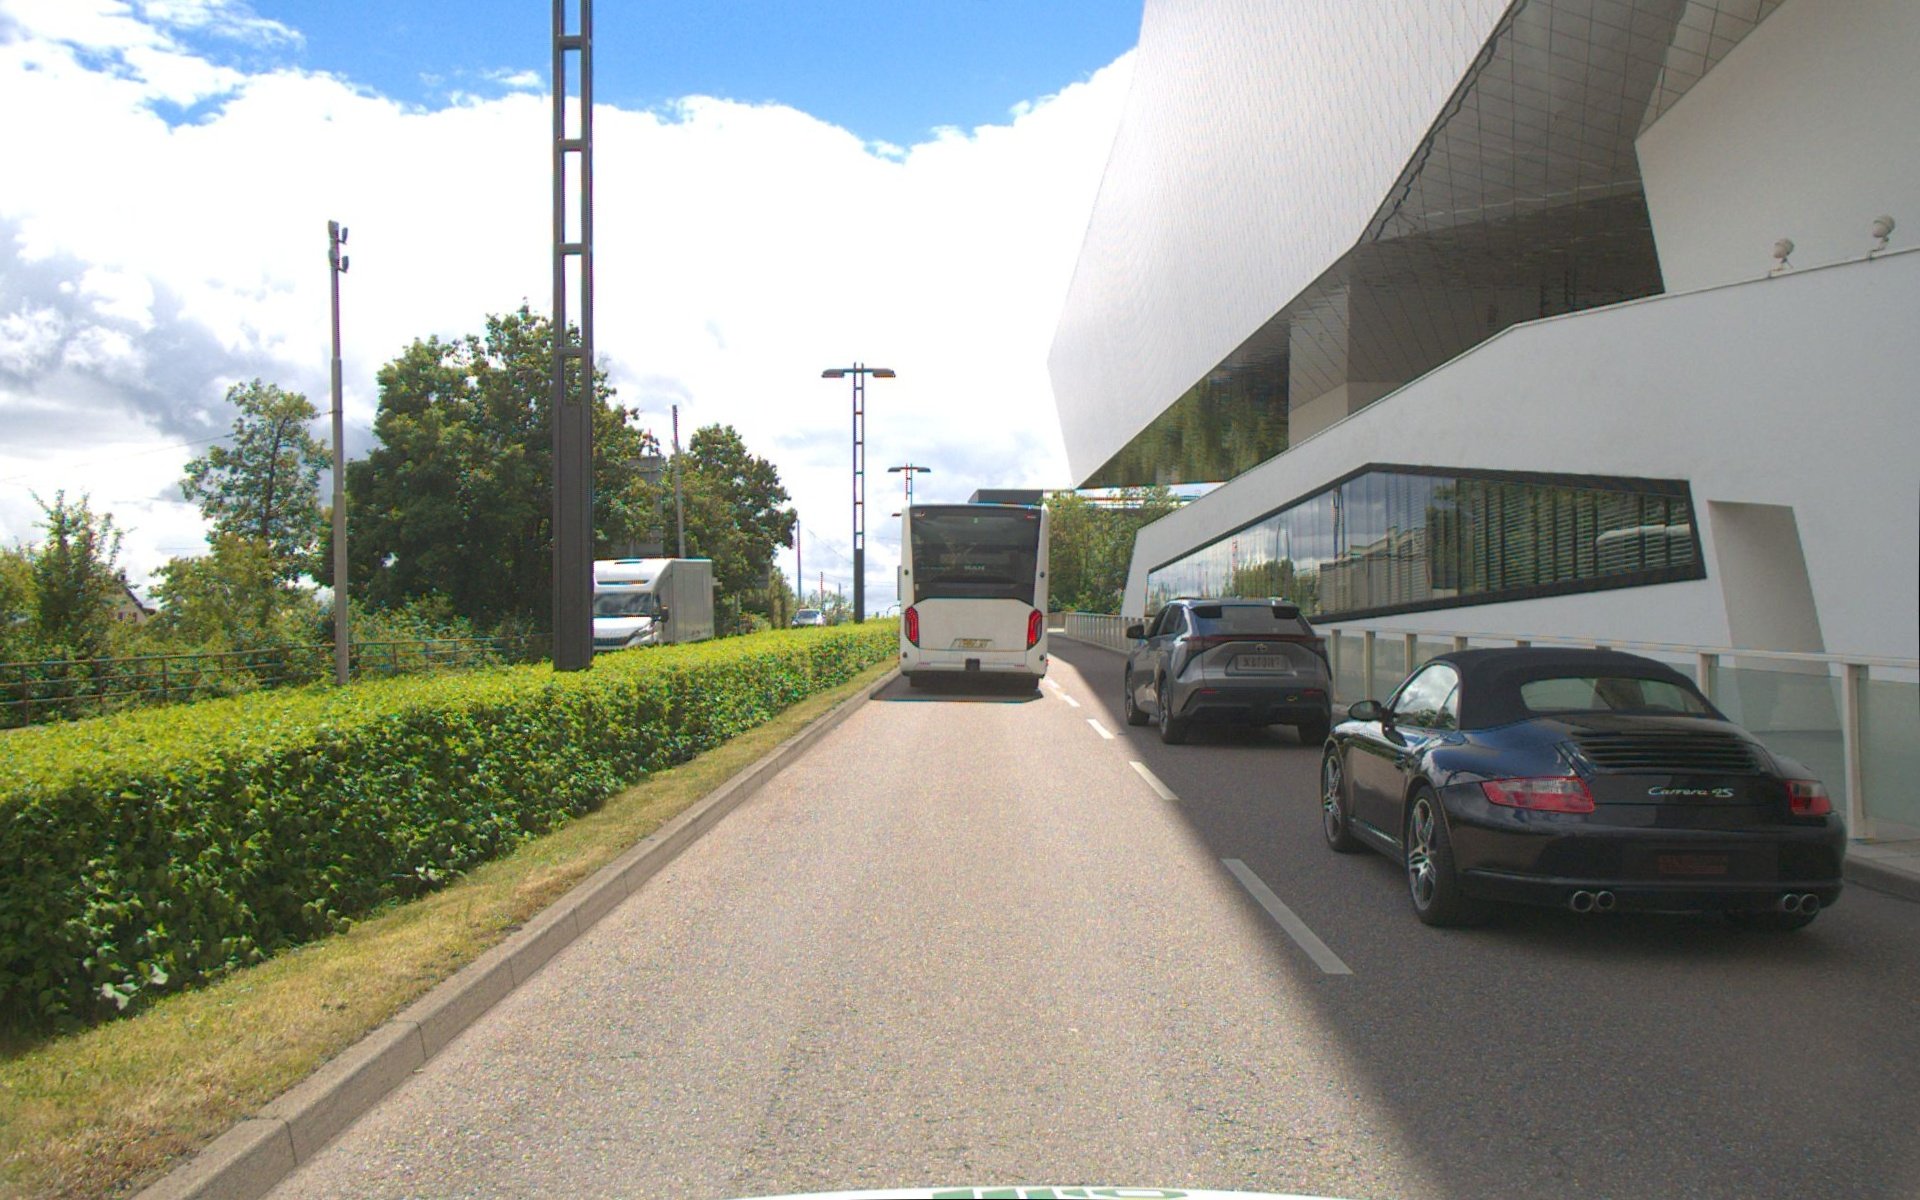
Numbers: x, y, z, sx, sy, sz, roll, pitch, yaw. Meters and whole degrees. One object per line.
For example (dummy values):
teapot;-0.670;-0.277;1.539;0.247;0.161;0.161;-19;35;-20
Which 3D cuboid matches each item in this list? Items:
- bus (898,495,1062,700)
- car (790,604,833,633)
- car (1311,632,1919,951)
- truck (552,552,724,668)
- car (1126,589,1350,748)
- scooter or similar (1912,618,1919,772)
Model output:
bus;0.394;-0.063;33.161;2.634;3.312;12.058;1;0;1
car;-8.308;1.040;92.903;1.801;1.534;4.562;-1;-1;2
car;3.171;0.835;8.933;1.684;1.297;4.087;0;-1;0
truck;-8.856;0.159;46.759;2.796;2.907;9.379;-1;1;1
car;3.109;0.751;19.315;1.841;1.622;4.228;1;-1;-1
scooter or similar;8.230;0.761;12.699;0.692;1.265;1.952;0;-1;0
